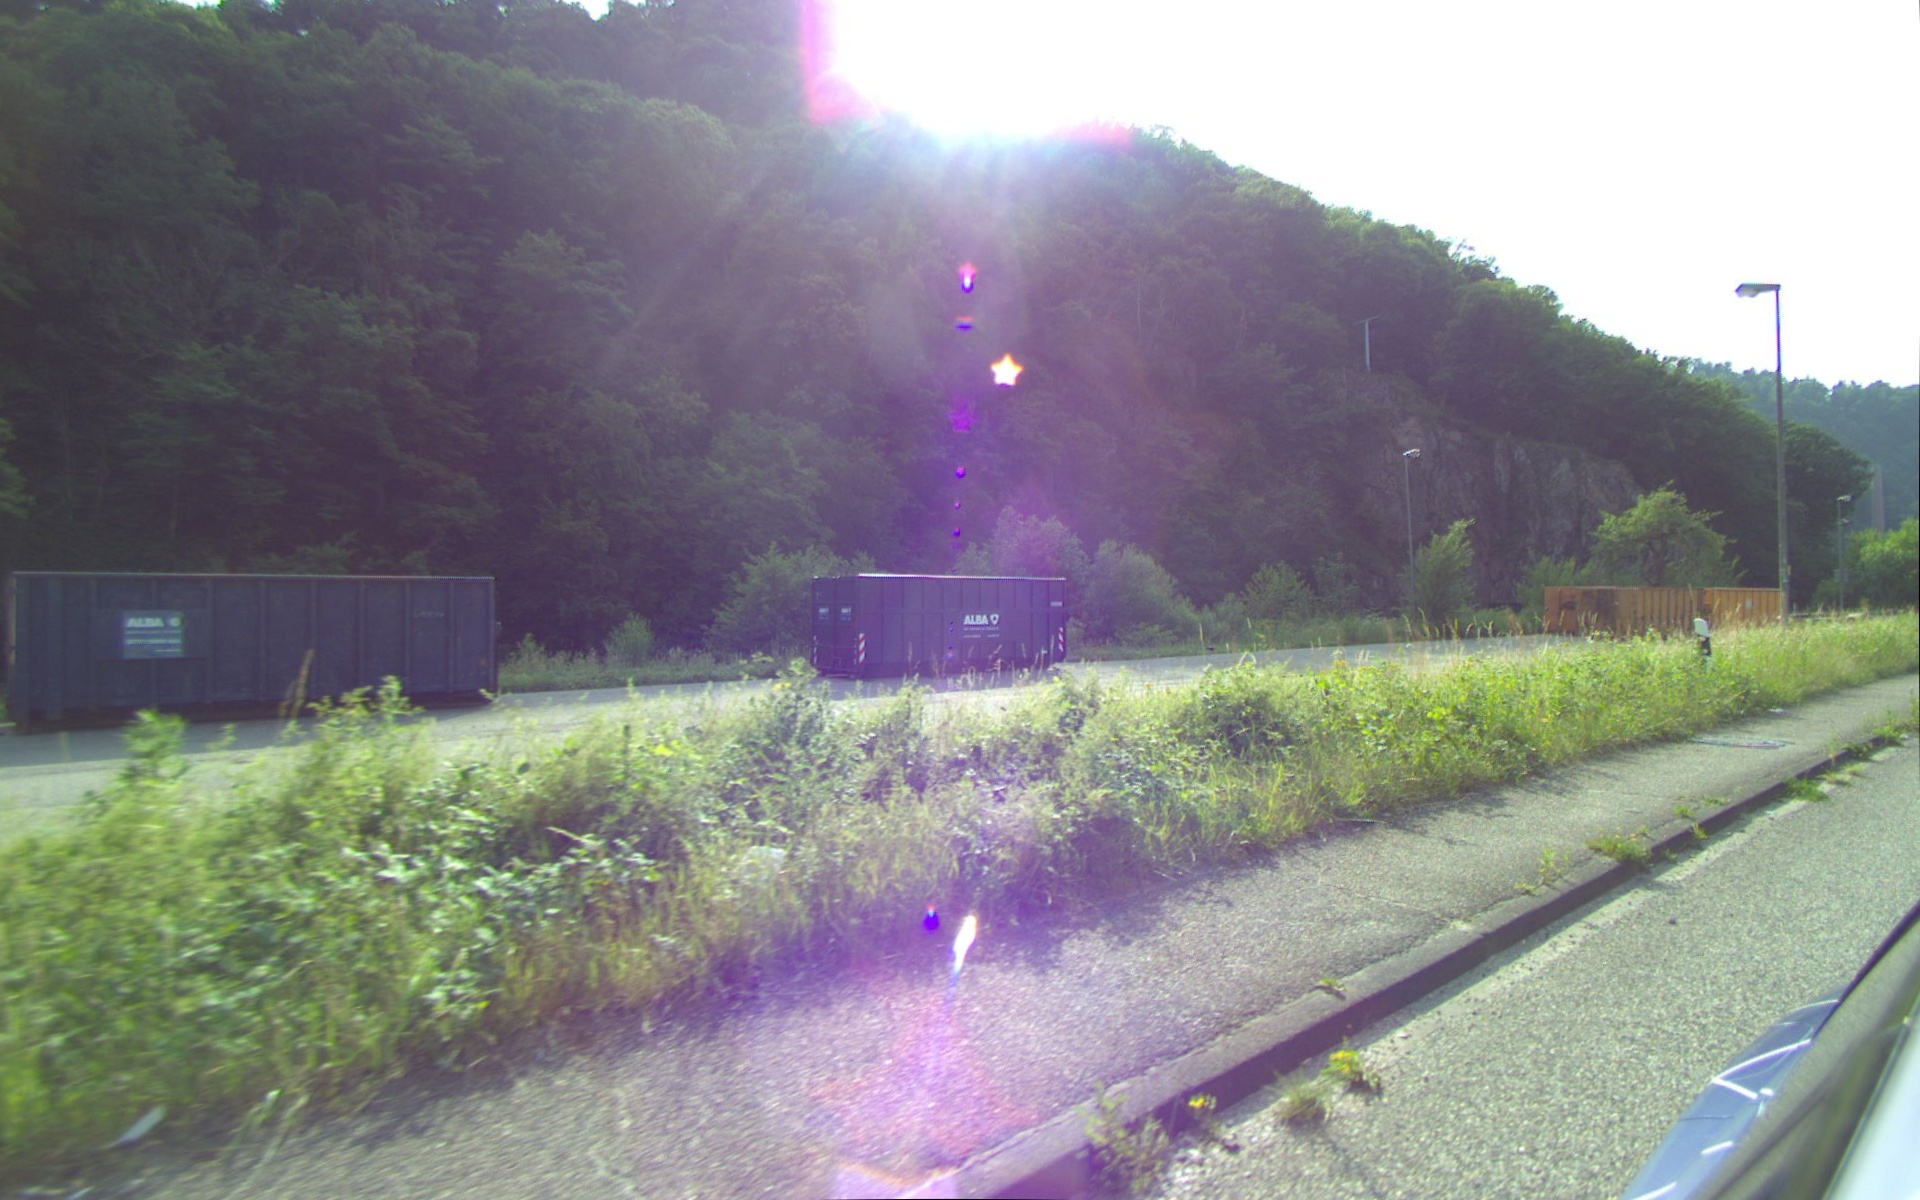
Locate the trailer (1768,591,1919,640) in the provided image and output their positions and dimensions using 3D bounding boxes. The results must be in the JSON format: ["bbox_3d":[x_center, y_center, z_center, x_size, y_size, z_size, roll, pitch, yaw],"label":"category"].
[{"bbox_3d":[32.177,0.500,36.133,9.704,1.493,2.798,-1,-3,-37],"label":"trailer"}]
